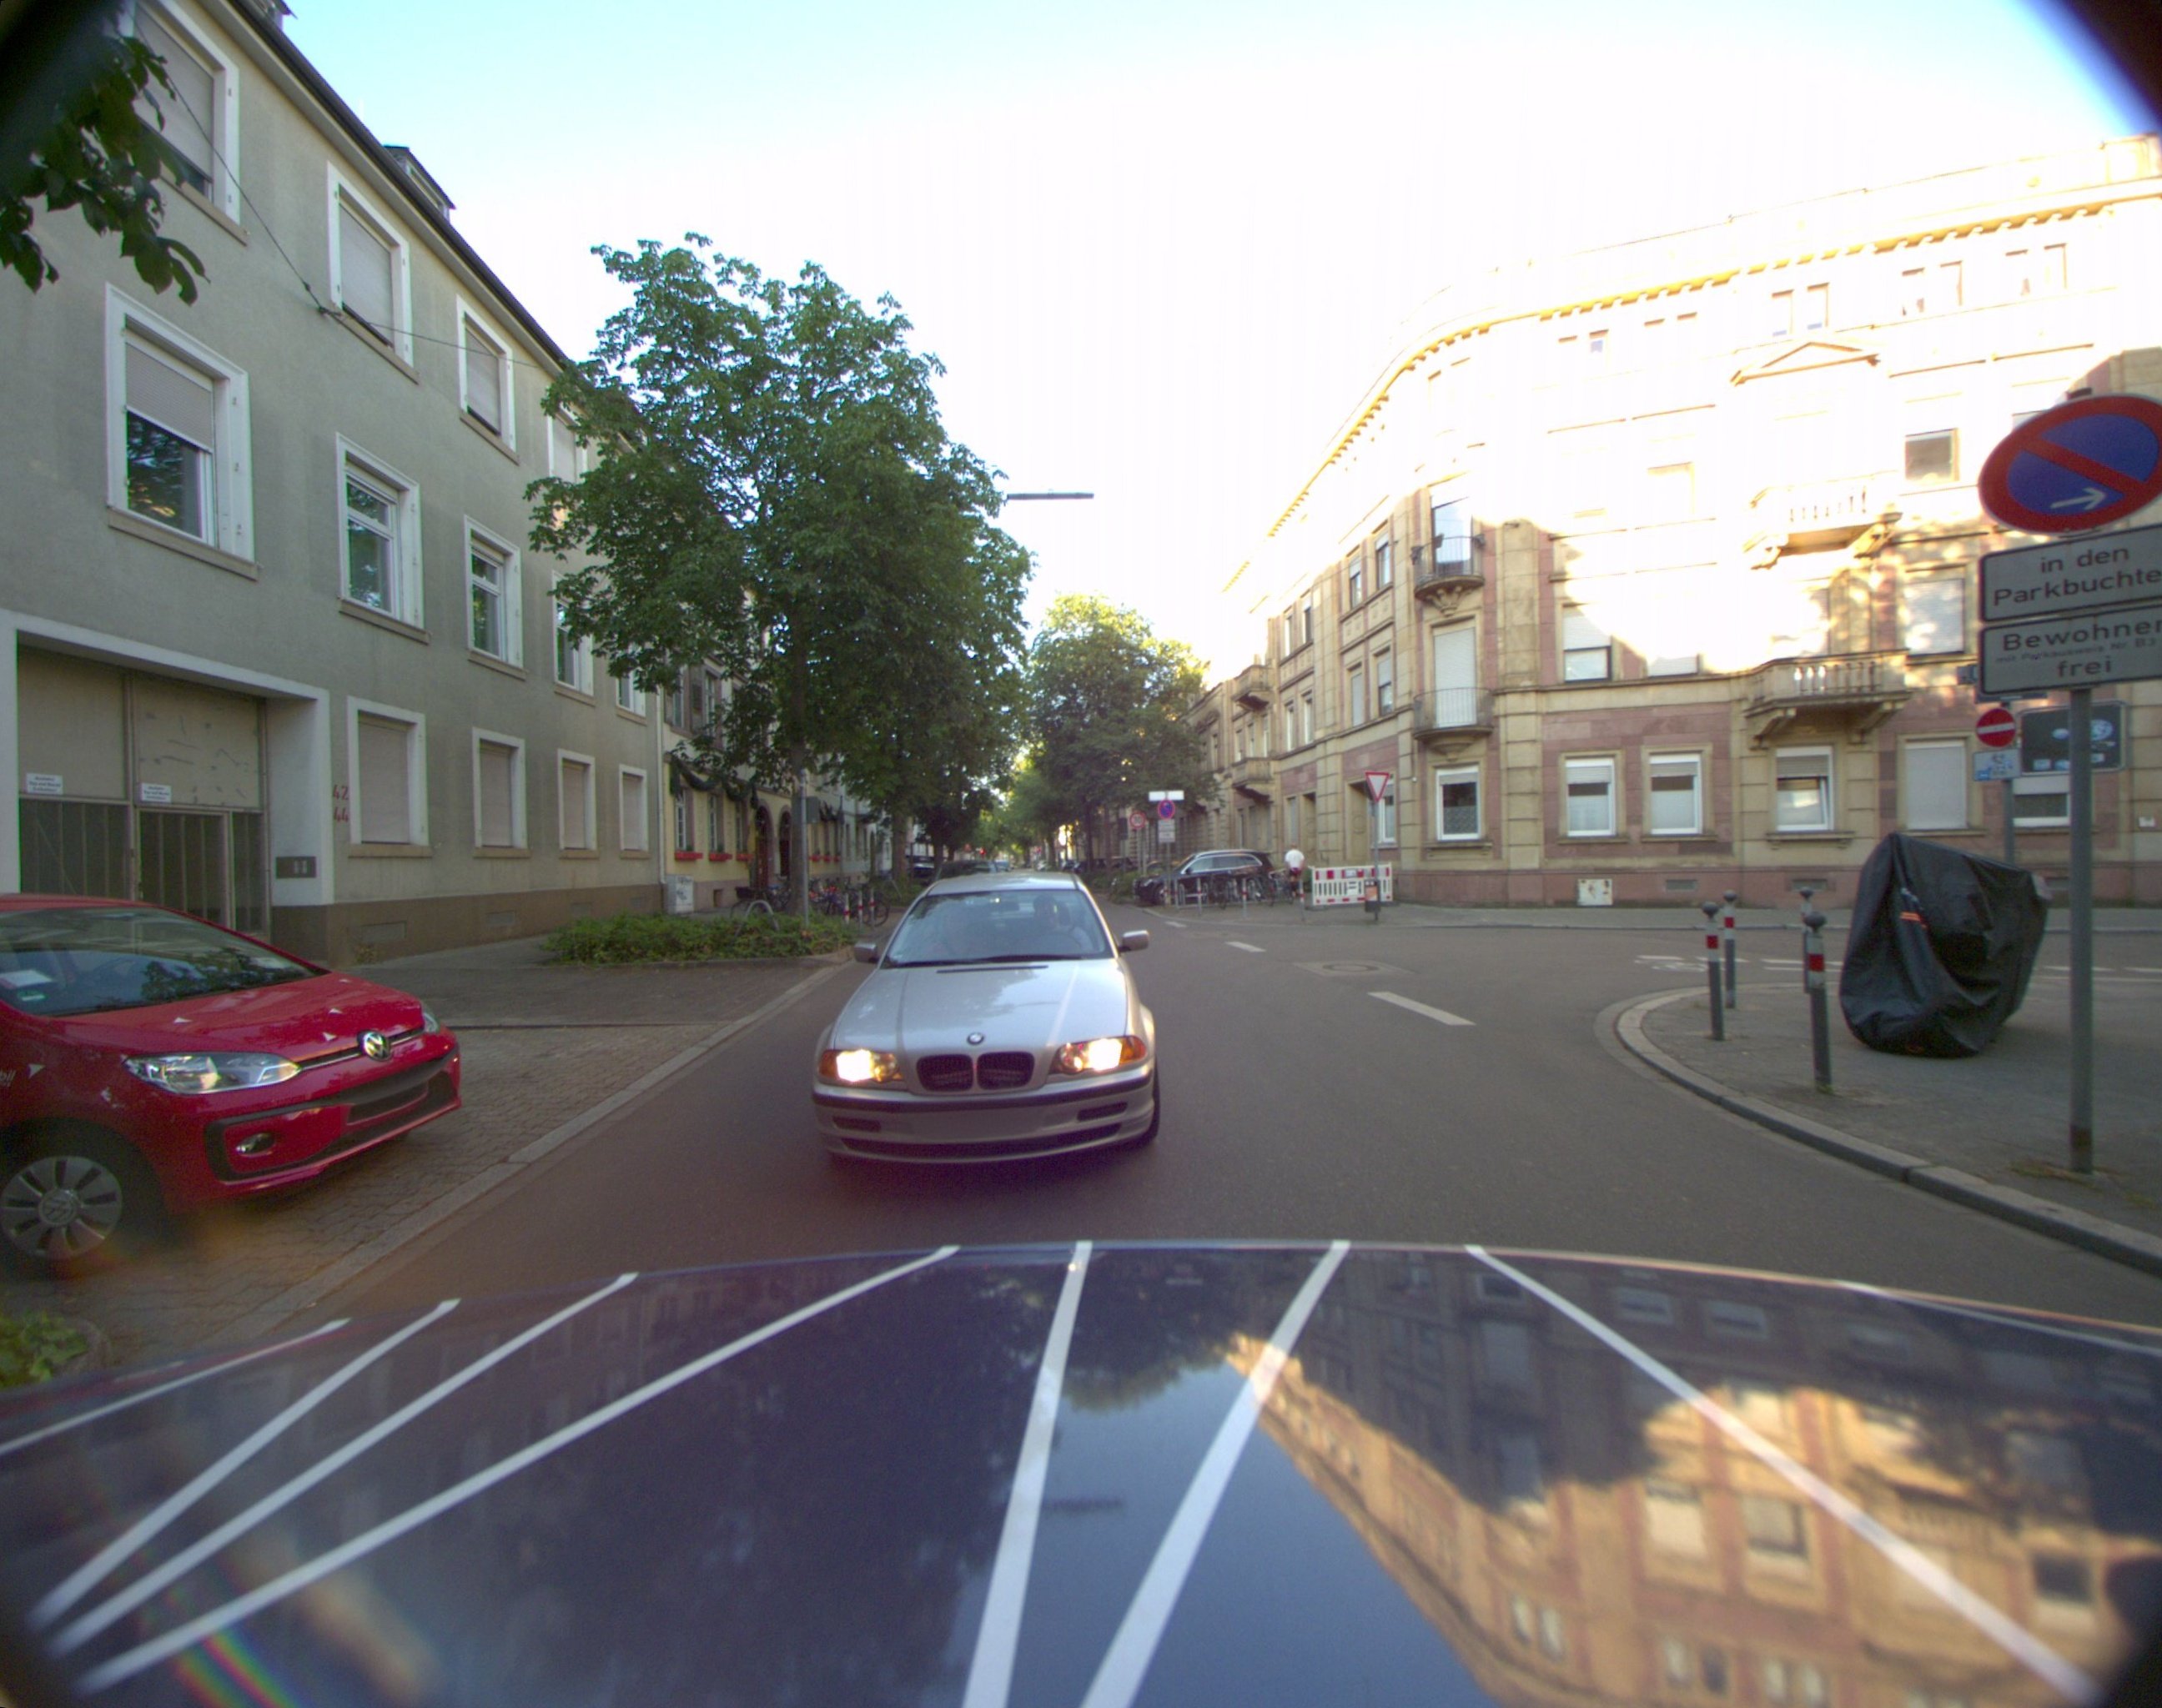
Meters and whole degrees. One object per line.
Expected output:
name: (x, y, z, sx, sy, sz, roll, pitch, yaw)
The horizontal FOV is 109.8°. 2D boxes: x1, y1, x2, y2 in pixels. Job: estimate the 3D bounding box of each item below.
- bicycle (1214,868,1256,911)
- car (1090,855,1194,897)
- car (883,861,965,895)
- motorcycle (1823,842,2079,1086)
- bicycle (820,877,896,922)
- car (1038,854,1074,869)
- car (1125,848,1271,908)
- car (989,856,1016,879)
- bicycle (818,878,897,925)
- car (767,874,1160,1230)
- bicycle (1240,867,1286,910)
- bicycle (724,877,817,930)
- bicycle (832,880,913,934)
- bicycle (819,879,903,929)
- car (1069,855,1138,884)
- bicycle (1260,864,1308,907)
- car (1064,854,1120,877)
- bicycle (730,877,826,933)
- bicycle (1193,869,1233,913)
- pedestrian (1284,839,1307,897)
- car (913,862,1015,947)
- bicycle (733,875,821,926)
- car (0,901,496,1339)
bicycle: (4.379, 0.985, 21.727, 0.562, 1.144, 2.038, -1, 0, -6)
car: (2.525, 0.898, 32.086, 4.243, 1.668, 1.742, -1, 0, -1)
car: (-8.560, 1.280, 41.668, 4.245, 1.729, 1.741, -1, 0, -6)
motorcycle: (6.494, 0.679, 5.636, 2.286, 1.496, 0.816, -1, 1, -30)
bicycle: (-6.372, 1.288, 21.787, 2.029, 1.220, 0.535, -1, 0, -11)
car: (-3.035, 0.949, 92.533, 4.245, 1.749, 1.741, -1, 0, -5)
car: (3.721, 0.747, 24.663, 4.423, 1.771, 1.741, -1, 0, -2)
car: (-5.569, 0.953, 54.178, 1.806, 1.543, 3.998, -1, 0, -4)
bicycle: (-6.131, 1.288, 20.917, 2.029, 1.220, 0.535, -1, 0, -11)
car: (-0.492, 0.941, 5.591, 1.711, 1.433, 4.436, -1, 0, 1)
bicycle: (5.172, 0.963, 21.769, 0.562, 1.144, 2.038, -1, 0, -8)
bicycle: (-7.497, 1.183, 18.450, 2.030, 1.220, 0.535, -1, 0, -16)
bicycle: (-5.040, 1.258, 18.397, 1.849, 1.220, 0.535, -1, 0, -16)
bicycle: (-5.664, 1.284, 19.636, 2.029, 1.220, 0.535, -1, 0, -11)
car: (1.403, 0.966, 48.379, 4.245, 1.749, 1.741, -1, 0, -5)
bicycle: (5.791, 0.883, 21.819, 0.562, 1.144, 2.038, -1, 0, -8)
car: (0.856, 0.877, 60.850, 4.245, 1.749, 1.741, -1, 0, -5)
bicycle: (-7.037, 1.173, 17.747, 2.030, 1.220, 0.535, -1, 0, -16)
bicycle: (3.740, 1.029, 21.659, 0.562, 1.144, 2.038, -1, 0, -6)
pedestrian: (6.766, 0.448, 24.009, 0.572, 1.797, 0.651, -1, 1, 5)
car: (-2.401, 0.982, 16.462, 1.806, 1.543, 3.998, -1, 0, -4)
bicycle: (-7.818, 1.183, 19.595, 2.029, 1.220, 0.535, -1, 0, -13)
car: (-5.168, 1.042, 3.430, 3.621, 1.468, 1.663, -1, 0, -7)
